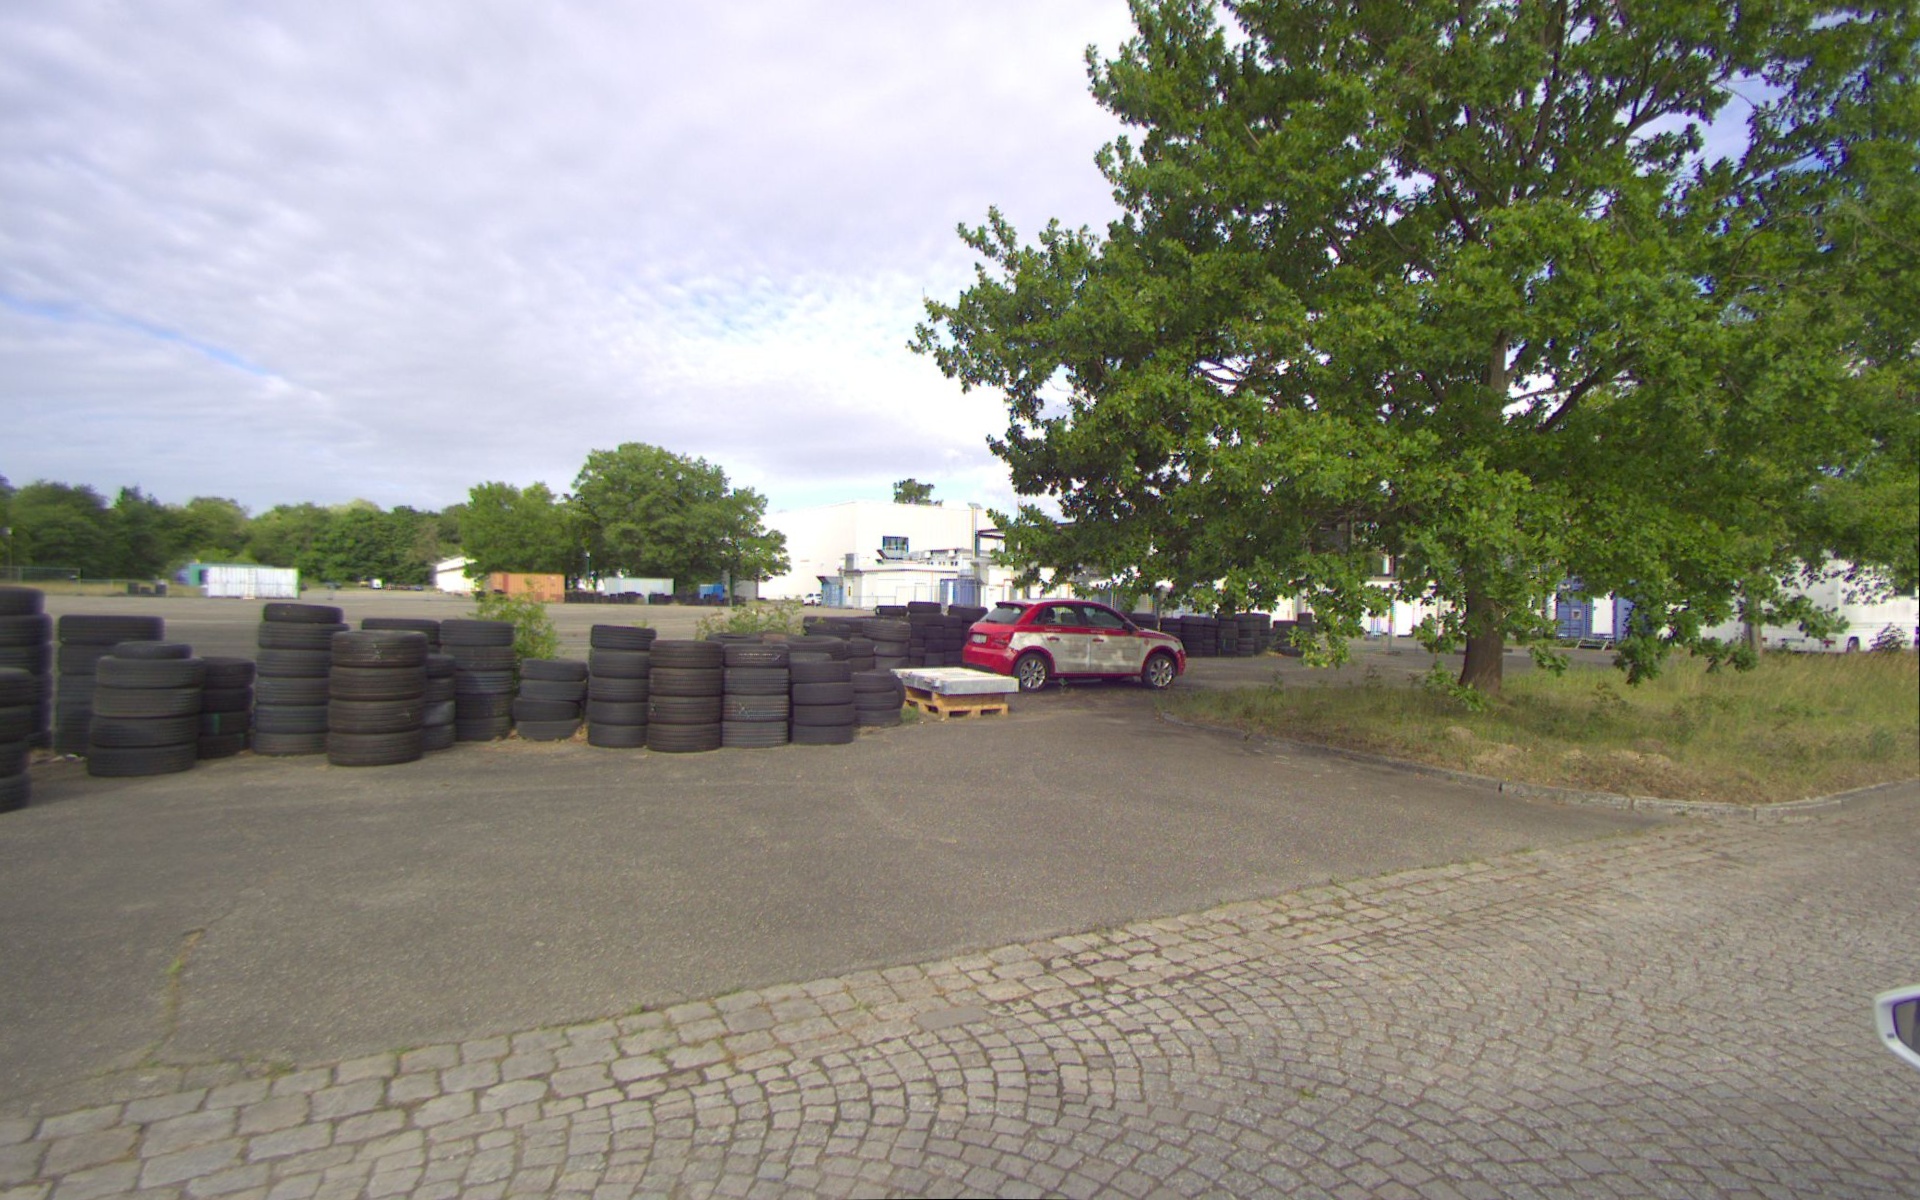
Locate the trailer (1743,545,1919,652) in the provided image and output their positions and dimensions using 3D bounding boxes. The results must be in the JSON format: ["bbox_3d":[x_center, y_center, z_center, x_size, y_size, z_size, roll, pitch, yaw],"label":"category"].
[{"bbox_3d":[33.516,0.013,37.782,10.052,3.646,2.614,1,1,-29],"label":"trailer"}]

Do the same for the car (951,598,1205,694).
[{"bbox_3d":[1.995,0.709,16.858,4.009,1.453,1.620,0,1,-25],"label":"car"}]

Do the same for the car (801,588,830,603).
[{"bbox_3d":[-15.999,-0.500,111.129,1.808,1.655,4.086,1,1,-29],"label":"car"}]
